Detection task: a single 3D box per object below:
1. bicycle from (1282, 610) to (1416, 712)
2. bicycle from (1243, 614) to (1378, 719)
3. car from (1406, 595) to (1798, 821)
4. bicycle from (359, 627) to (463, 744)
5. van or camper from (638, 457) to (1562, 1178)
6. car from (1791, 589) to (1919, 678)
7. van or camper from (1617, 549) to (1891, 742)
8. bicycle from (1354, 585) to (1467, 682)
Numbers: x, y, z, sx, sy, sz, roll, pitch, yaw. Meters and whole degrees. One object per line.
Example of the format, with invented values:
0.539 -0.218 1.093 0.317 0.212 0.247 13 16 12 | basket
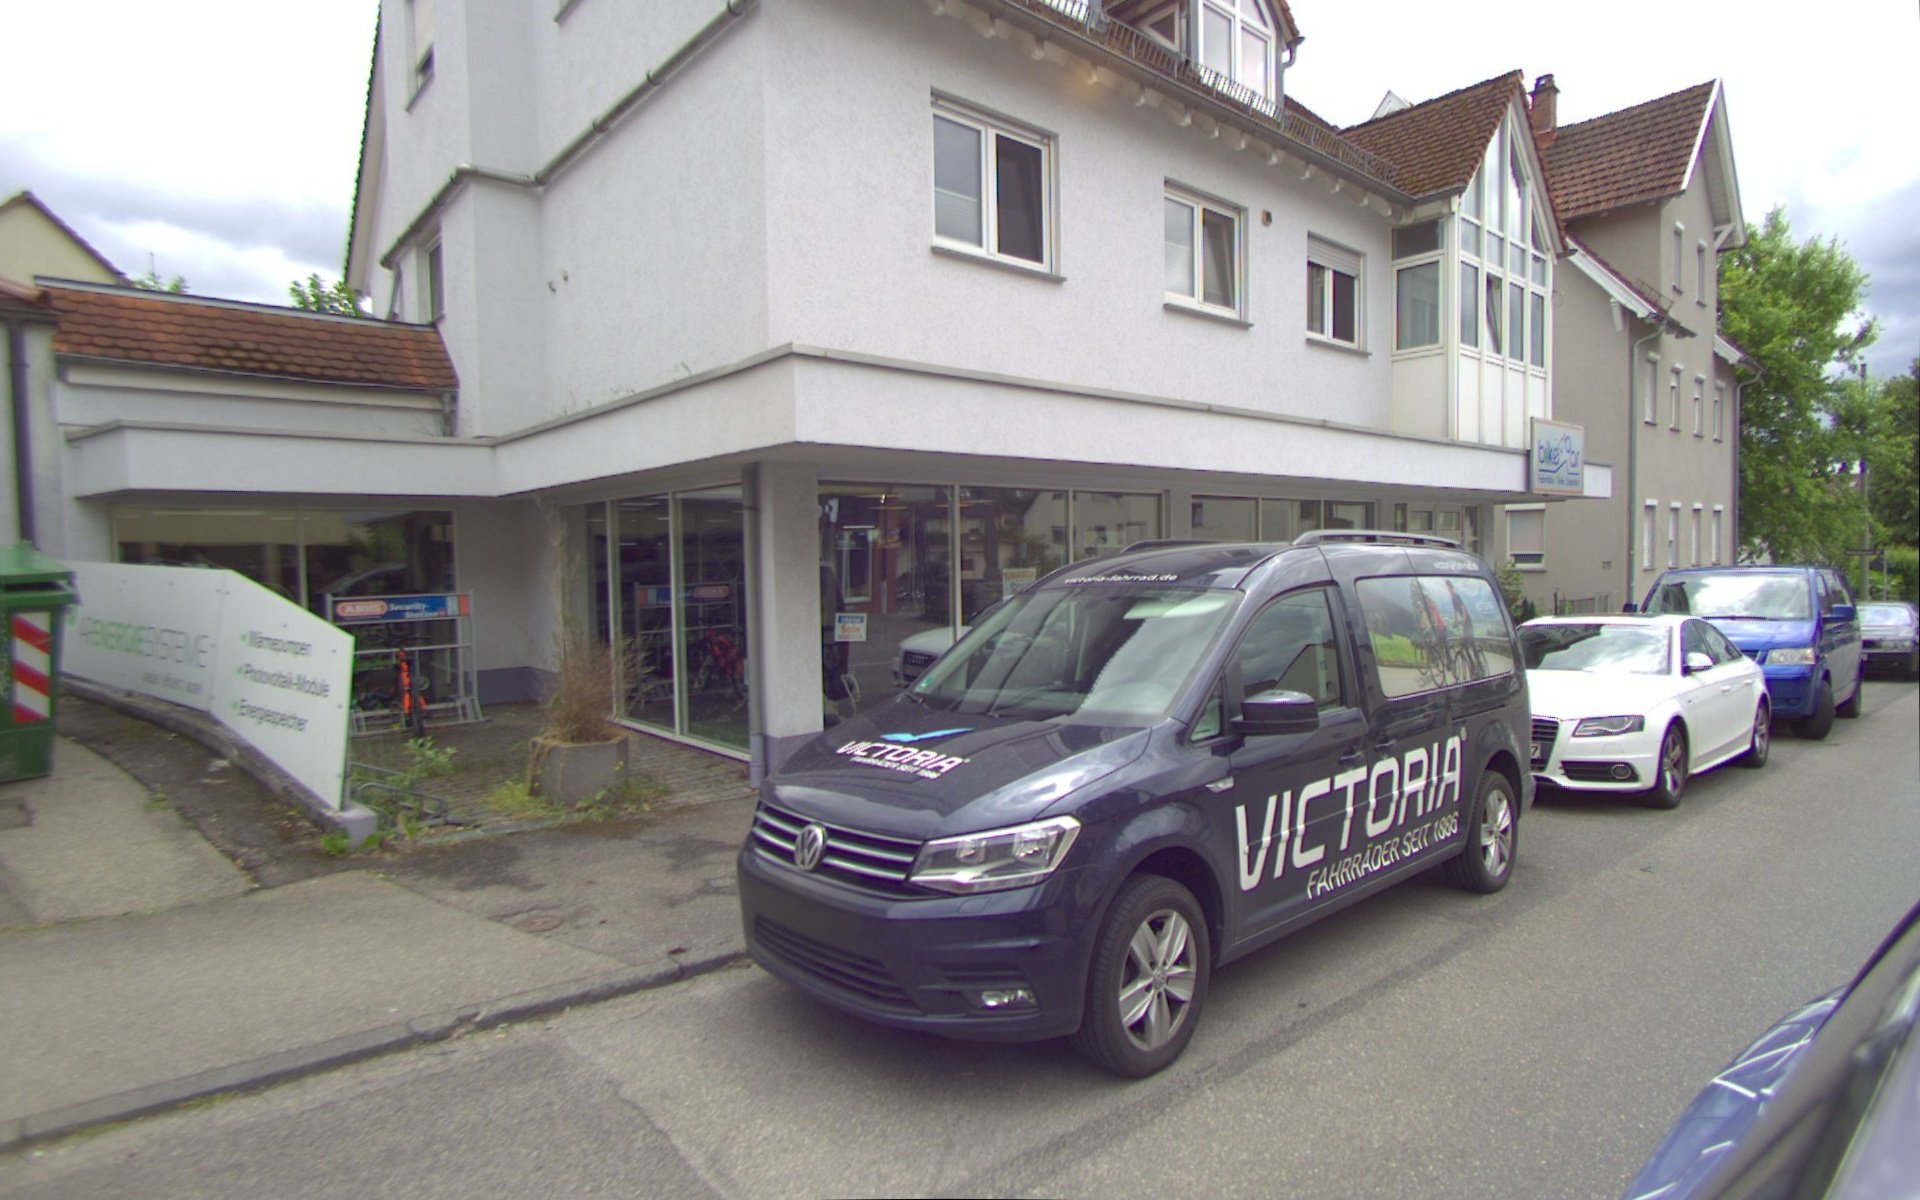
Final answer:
4.451 0.695 11.588 1.436 1.127 0.340 1 1 -11 | bicycle
3.857 0.727 11.131 1.436 1.127 0.251 1 1 -11 | bicycle
5.760 0.706 8.814 4.560 1.454 1.716 -1 0 -42 | car
-5.019 0.736 9.215 0.619 0.907 1.358 0 1 -38 | bicycle
1.050 0.554 4.859 4.600 1.852 1.873 0 -1 -42 | van or camper
18.192 0.572 19.997 4.807 1.537 1.996 -1 0 -42 | car
9.976 0.434 12.562 4.748 1.950 1.929 0 0 -42 | van or camper
5.475 0.393 12.285 1.436 1.127 0.340 1 2 -23 | bicycle
